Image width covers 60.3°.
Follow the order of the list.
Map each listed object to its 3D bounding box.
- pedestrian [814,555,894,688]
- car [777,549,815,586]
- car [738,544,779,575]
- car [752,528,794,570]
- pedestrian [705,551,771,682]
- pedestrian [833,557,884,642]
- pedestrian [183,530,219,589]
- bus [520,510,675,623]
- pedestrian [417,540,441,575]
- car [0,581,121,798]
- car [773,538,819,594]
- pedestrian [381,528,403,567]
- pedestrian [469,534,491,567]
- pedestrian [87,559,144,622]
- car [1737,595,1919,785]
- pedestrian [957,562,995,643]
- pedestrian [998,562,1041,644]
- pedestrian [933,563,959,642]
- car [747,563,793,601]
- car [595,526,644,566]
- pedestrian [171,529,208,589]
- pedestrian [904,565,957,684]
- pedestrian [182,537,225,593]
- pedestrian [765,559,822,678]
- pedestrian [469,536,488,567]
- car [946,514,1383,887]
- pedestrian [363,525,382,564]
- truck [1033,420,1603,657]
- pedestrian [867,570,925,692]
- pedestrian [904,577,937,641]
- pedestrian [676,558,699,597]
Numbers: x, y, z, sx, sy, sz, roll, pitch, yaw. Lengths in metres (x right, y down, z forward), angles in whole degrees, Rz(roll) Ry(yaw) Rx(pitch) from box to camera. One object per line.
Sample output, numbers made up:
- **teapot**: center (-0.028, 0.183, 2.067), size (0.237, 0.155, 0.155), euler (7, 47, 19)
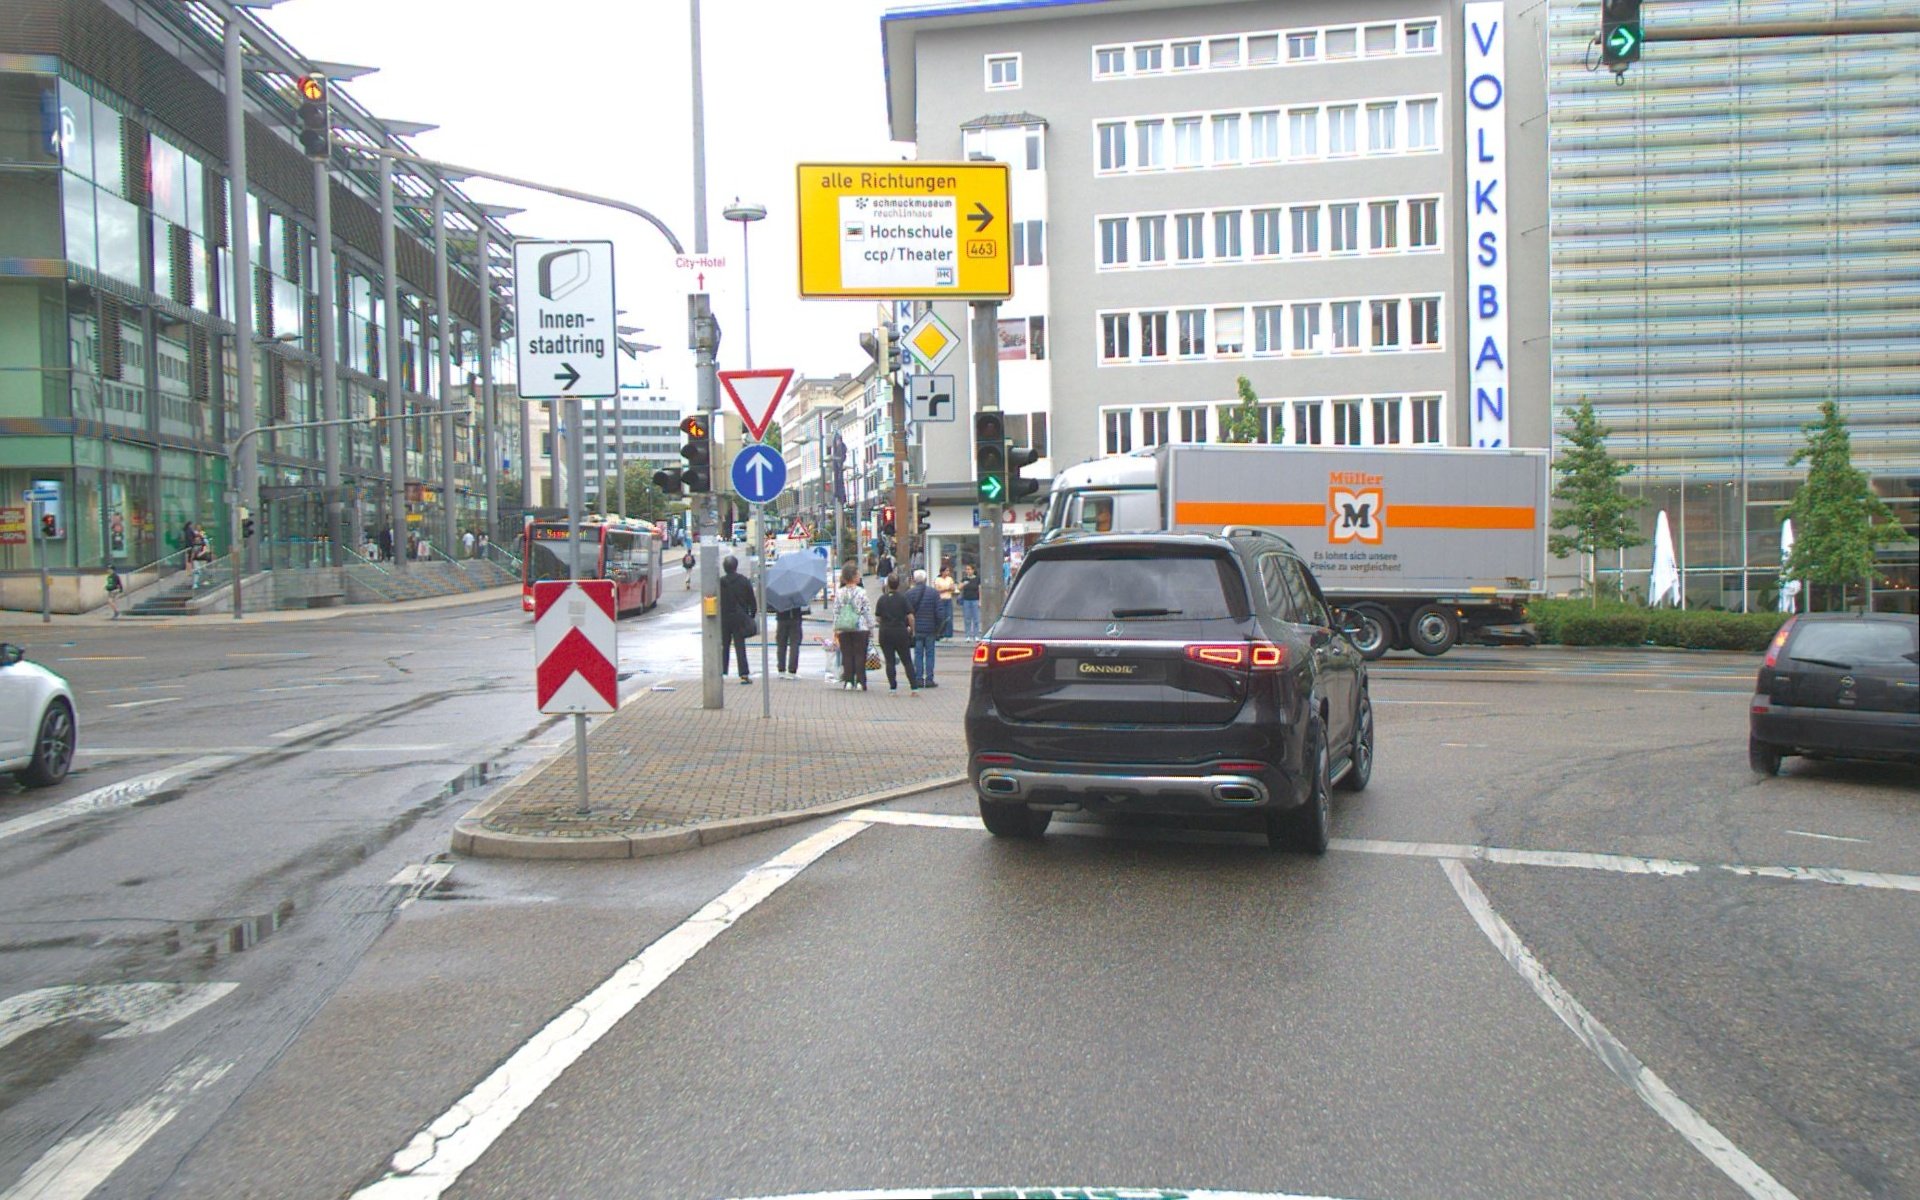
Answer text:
- **pedestrian**: center (-1.381, 0.273, 21.788), size (0.958, 1.701, 0.915), euler (1, 1, 0)
- **car**: center (-8.568, -1.684, 86.207), size (1.826, 1.858, 4.097), euler (1, 1, -7)
- **car**: center (-12.419, -2.469, 102.275), size (2.376, 1.811, 5.149), euler (1, 1, -5)
- **car**: center (-16.257, -4.368, 143.919), size (2.393, 3.525, 6.157), euler (1, 1, 5)
- **pedestrian**: center (-3.016, 0.225, 22.502), size (0.768, 1.741, 0.707), euler (1, 0, -1)
- **pedestrian**: center (-2.225, -0.016, 36.151), size (0.992, 1.818, 0.851), euler (1, 1, -11)
- **pedestrian**: center (-26.037, -1.387, 56.742), size (0.858, 2.015, 0.849), euler (0, 0, -6)
- **bus**: center (-12.514, -1.124, 59.051), size (2.863, 3.378, 18.462), euler (0, 1, -5)
- **pedestrian**: center (-26.827, -2.131, 83.612), size (1.020, 1.742, 1.005), euler (0, 1, -11)
- **car**: center (-7.304, 0.628, 10.698), size (1.757, 1.440, 4.626), euler (0, 1, -6)
- **car**: center (-9.222, -1.899, 92.726), size (2.398, 3.009, 6.144), euler (1, 1, -7)
- **pedestrian**: center (-25.353, -2.345, 73.798), size (0.812, 1.742, 0.800), euler (0, 0, -11)
- **pedestrian**: center (-26.043, -2.684, 89.773), size (1.020, 1.742, 1.005), euler (0, 1, -11)
- **pedestrian**: center (-23.739, -0.279, 46.509), size (1.017, 1.742, 1.007), euler (0, 1, 22)
- **car**: center (8.339, 0.779, 14.889), size (1.689, 1.445, 3.754), euler (3, 0, 37)
- **pedestrian**: center (0.349, 0.051, 35.922), size (0.764, 1.718, 0.639), euler (1, 1, 4)
- **pedestrian**: center (1.331, 0.060, 37.157), size (0.815, 1.809, 0.616), euler (1, 1, -11)
- **pedestrian**: center (-0.303, 0.044, 35.885), size (0.557, 1.698, 0.502), euler (0, 1, 2)
- **car**: center (-8.113, -0.776, 70.863), size (1.703, 1.554, 3.997), euler (1, 1, -4)
- **car**: center (-18.436, -2.902, 89.717), size (2.200, 2.070, 5.348), euler (1, 1, -8)
- **pedestrian**: center (-25.982, -1.377, 55.781), size (0.863, 2.015, 0.974), euler (0, 0, -6)
- **pedestrian**: center (-0.404, 0.335, 22.839), size (0.698, 1.595, 0.854), euler (1, 0, -1)
- **pedestrian**: center (-23.857, -1.112, 52.159), size (1.020, 1.742, 1.005), euler (0, 1, -11)
- **pedestrian**: center (-2.455, 0.270, 24.391), size (0.741, 1.721, 0.693), euler (1, -1, -1)
- **pedestrian**: center (-27.657, -2.789, 95.006), size (0.921, 1.742, 0.989), euler (0, 1, -10)
- **car**: center (1.597, 0.425, 10.809), size (2.043, 1.848, 4.796), euler (1, 2, 17)
- **pedestrian**: center (-26.139, -2.464, 73.648), size (0.668, 1.742, 0.848), euler (0, 0, -10)
- **truck**: center (6.763, -1.161, 32.321), size (10.518, 4.409, 2.855), euler (0, 1, -2)
- **pedestrian**: center (-0.802, 0.385, 20.946), size (0.690, 1.514, 0.560), euler (1, -1, -1)
- **pedestrian**: center (-0.858, 0.198, 35.891), size (0.618, 1.363, 0.586), euler (1, 1, -11)
- **pedestrian**: center (-13.496, -1.117, 81.854), size (0.935, 1.919, 0.810), euler (1, 1, 1)
